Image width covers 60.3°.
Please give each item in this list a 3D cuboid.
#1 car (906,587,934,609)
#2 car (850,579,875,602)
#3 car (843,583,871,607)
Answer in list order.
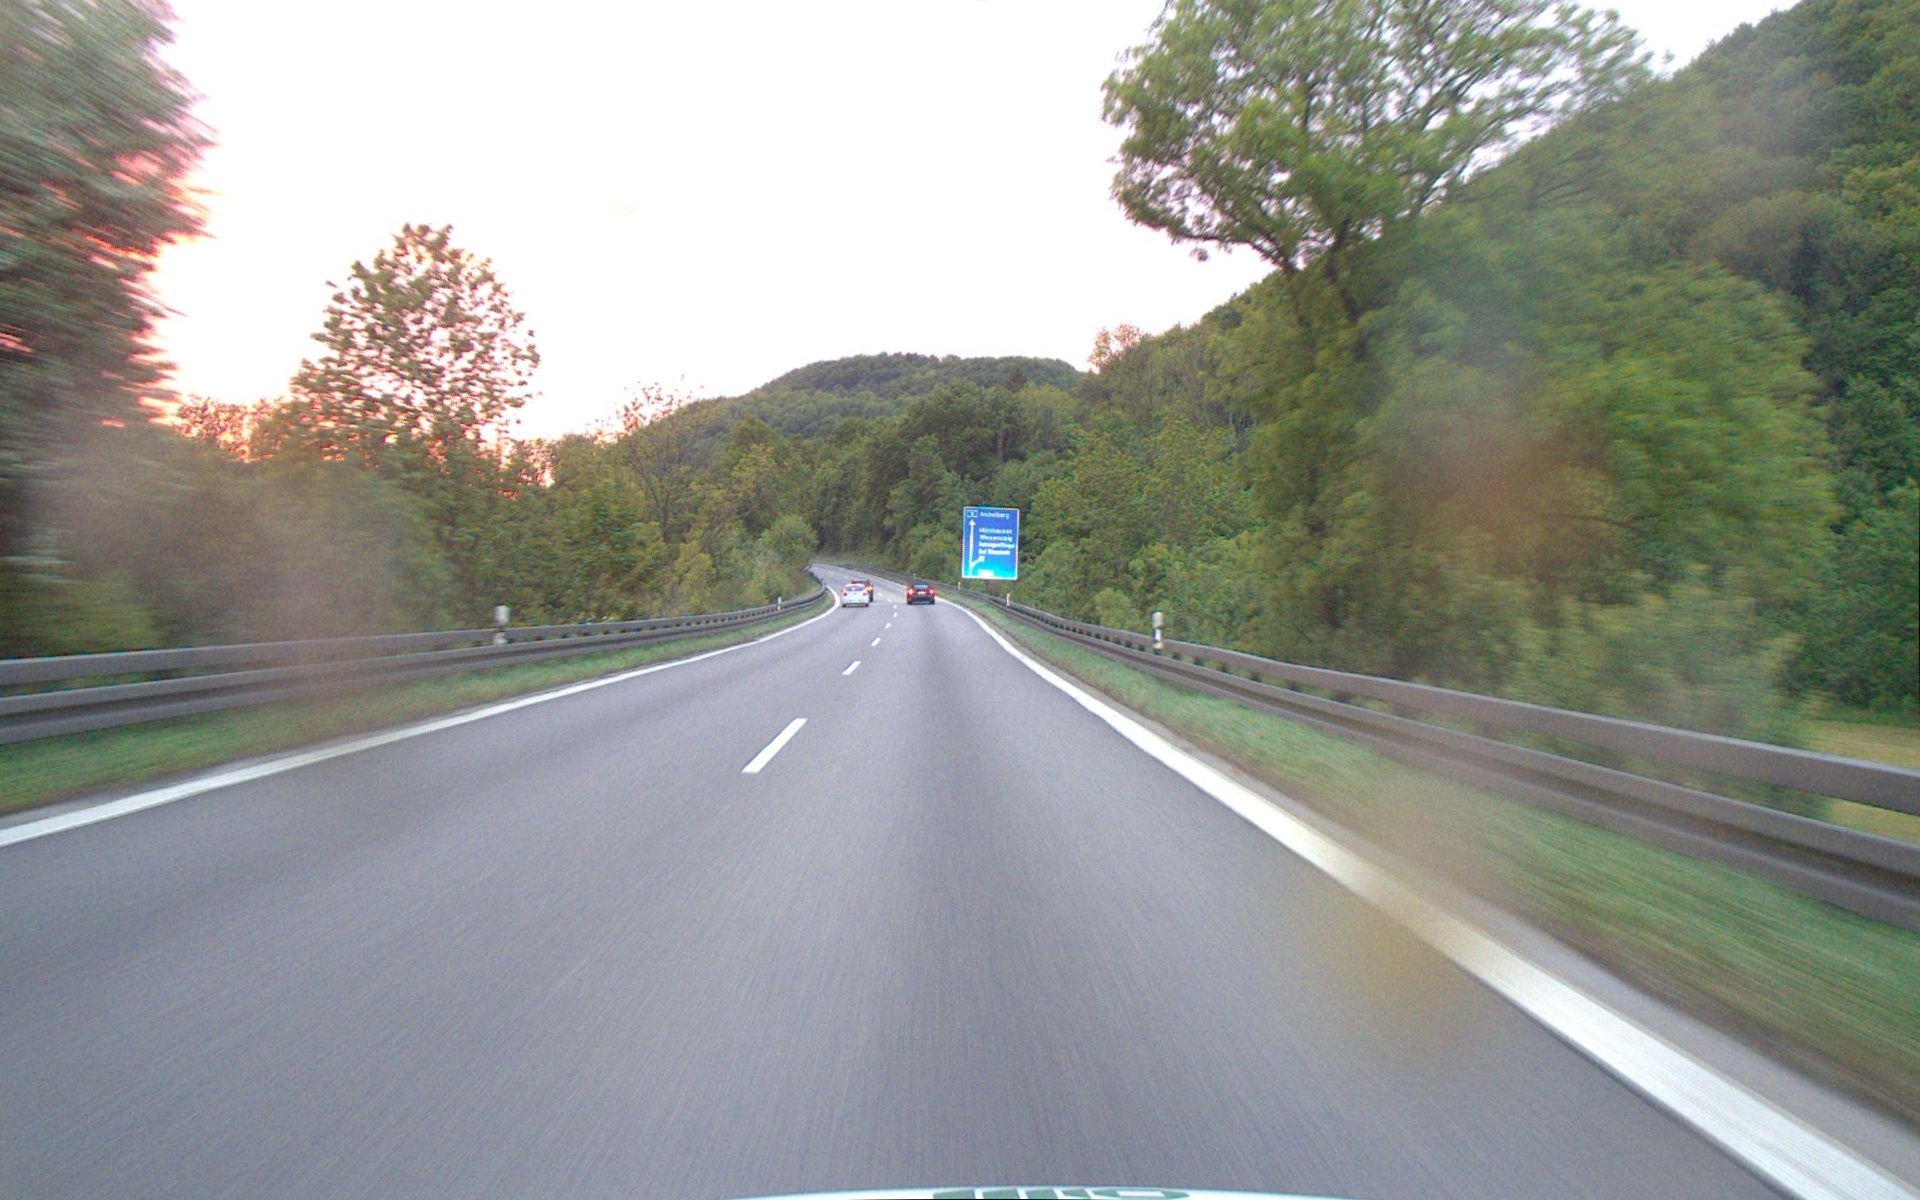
[{"bbox_3d":[-2.726,-0.160,112.942,1.840,1.492,3.999,0,0,-1],"label":"car"},{"bbox_3d":[-7.163,-0.714,121.223,1.683,1.663,3.999,0,0,-1],"label":"car"},{"bbox_3d":[-6.739,-0.320,108.309,1.683,1.527,3.999,0,0,-1],"label":"car"}]
